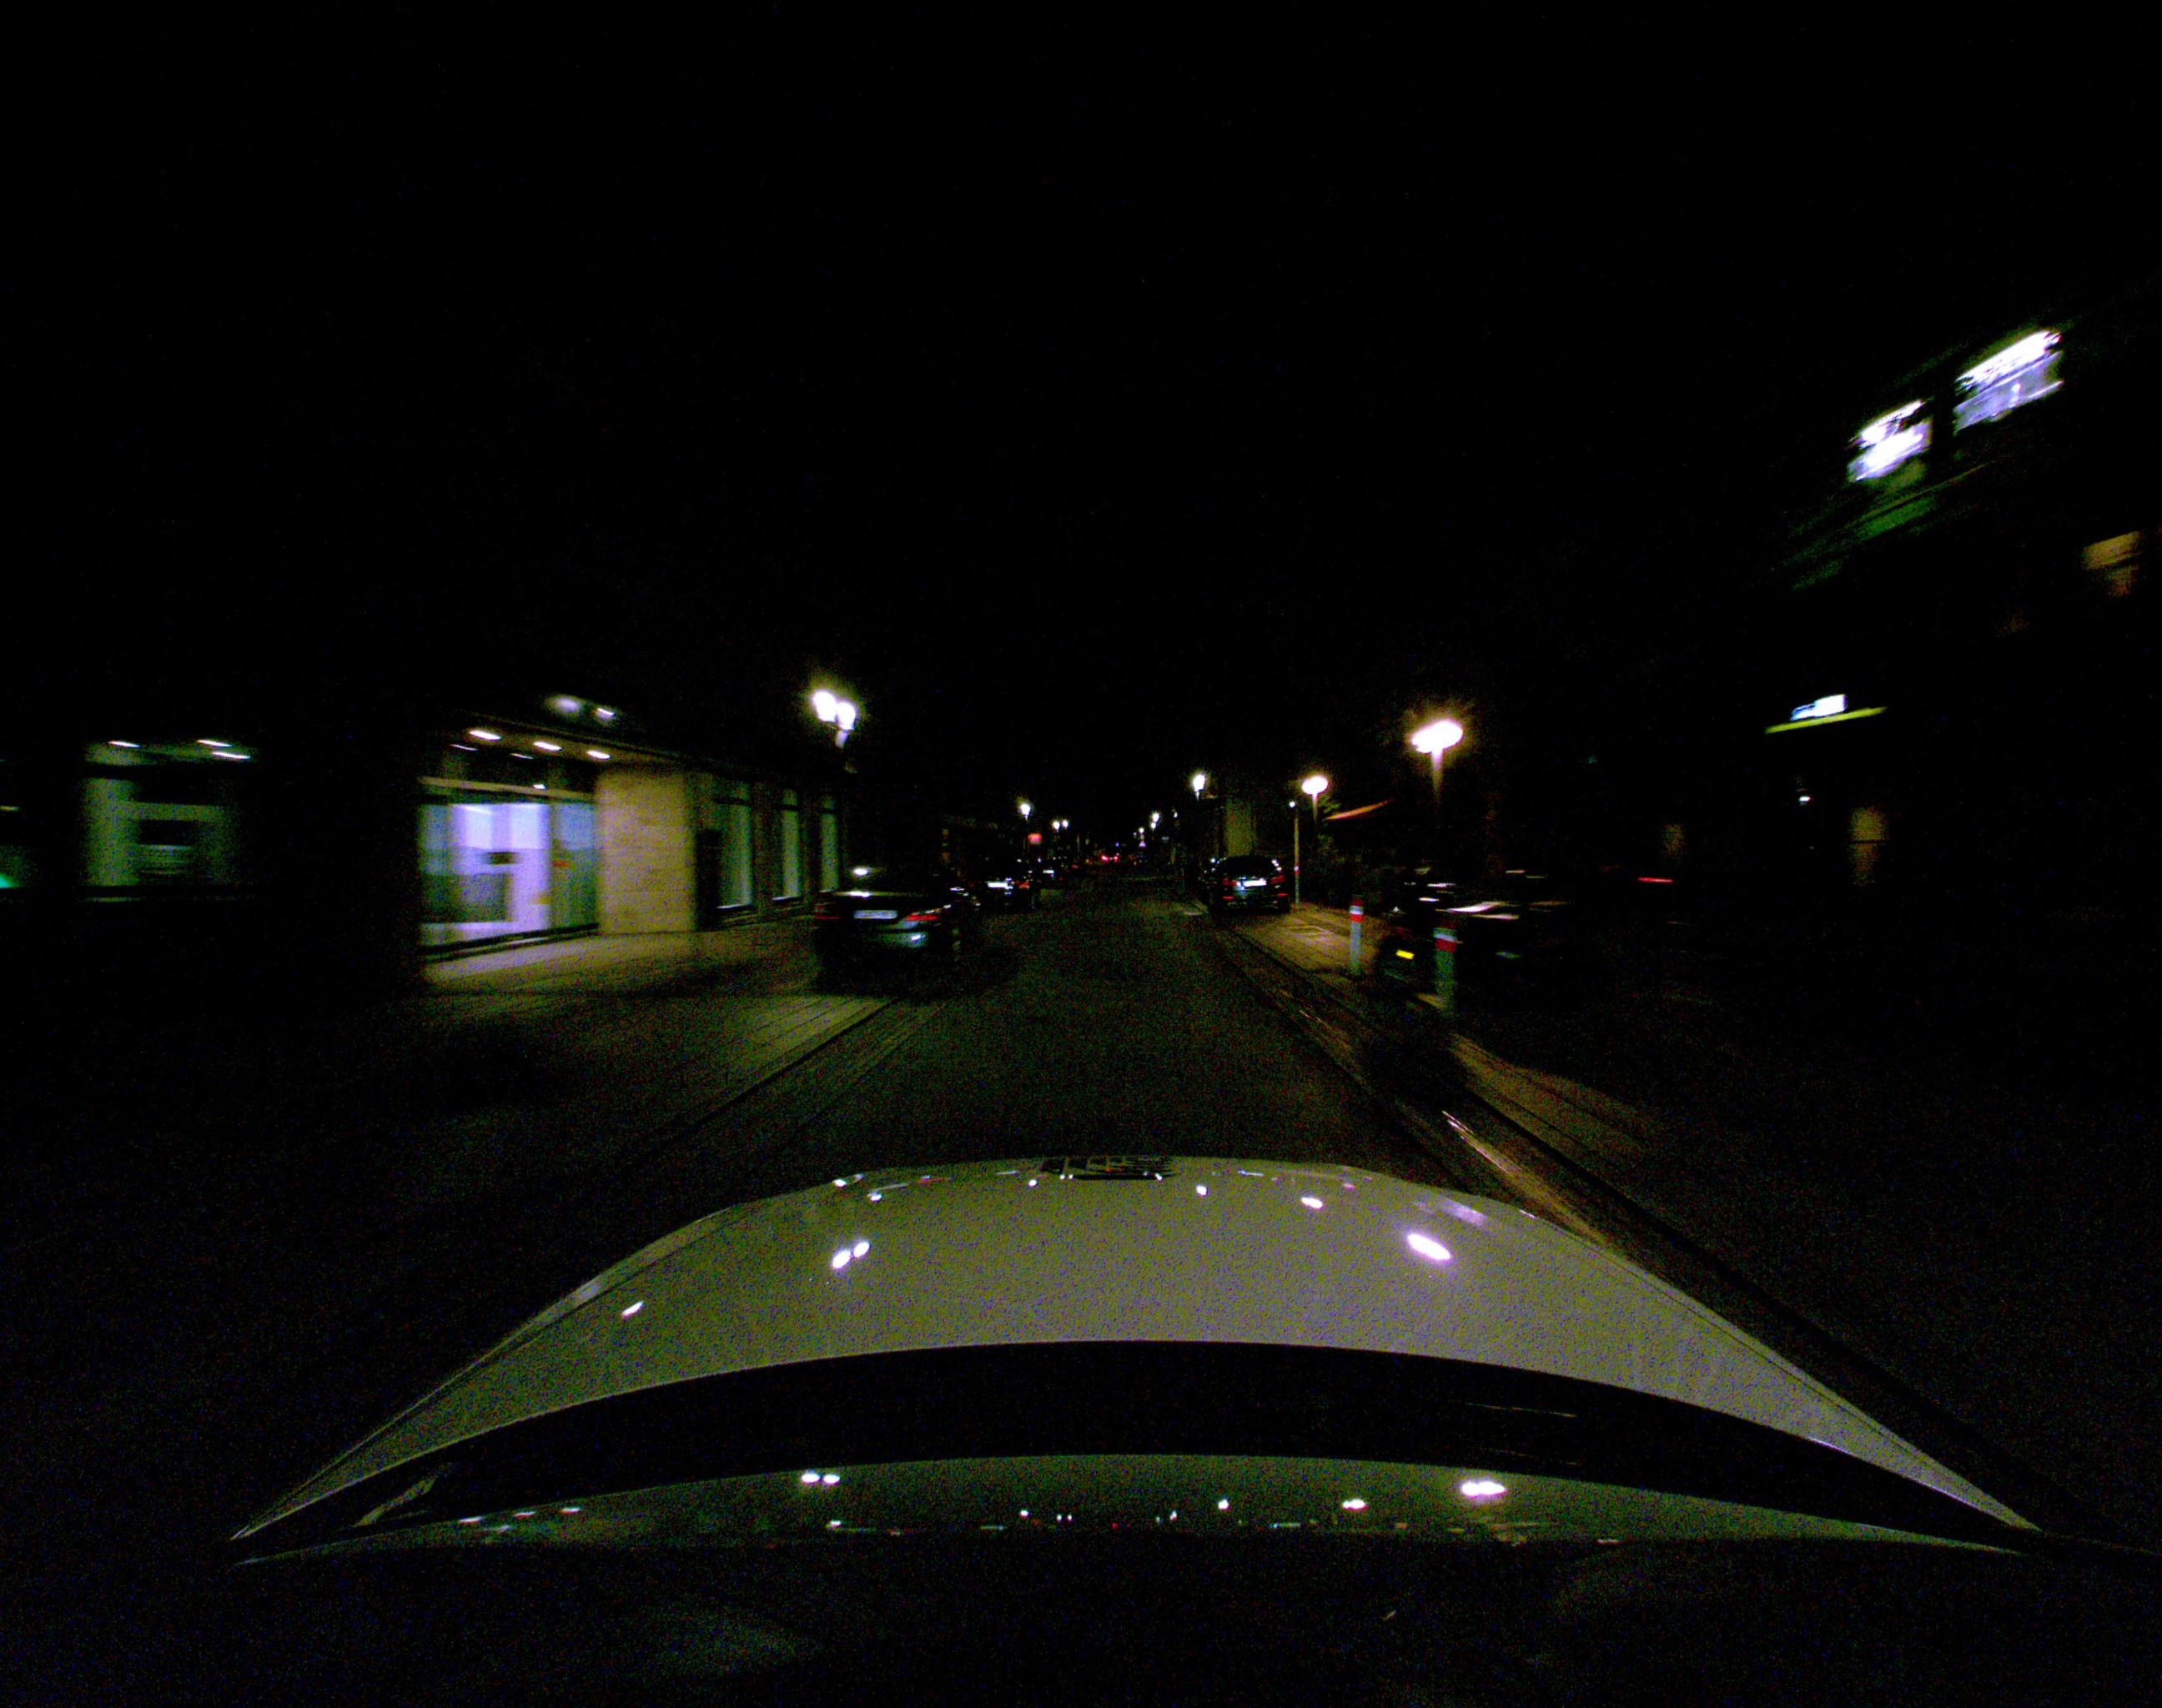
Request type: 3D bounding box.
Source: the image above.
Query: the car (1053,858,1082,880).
[{"bbox_3d":[-0.907,0.997,56.570,1.710,1.413,4.388,0,0,3],"label":"car"}]

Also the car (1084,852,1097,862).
[{"bbox_3d":[1.517,0.439,128.812,1.670,1.543,4.224,0,0,-4],"label":"car"}]

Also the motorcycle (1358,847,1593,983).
[{"bbox_3d":[4.356,0.656,9.122,2.243,1.391,0.665,-2,-1,26],"label":"motorcycle"}]

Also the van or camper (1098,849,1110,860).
[{"bbox_3d":[5.304,0.139,185.570,2.105,2.317,4.255,-3,0,-5],"label":"van or camper"}]

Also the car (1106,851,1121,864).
[{"bbox_3d":[4.654,0.456,117.836,1.987,1.823,4.001,-1,0,1],"label":"car"}]

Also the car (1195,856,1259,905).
[{"bbox_3d":[4.716,0.811,26.747,1.653,1.377,4.110,-3,0,5],"label":"car"}]

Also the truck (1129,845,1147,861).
[{"bbox_3d":[8.621,-0.124,123.673,2.328,2.312,5.782,-2,0,1],"label":"truck"}]

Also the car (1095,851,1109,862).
[{"bbox_3d":[3.471,0.380,134.237,1.989,1.702,3.996,-1,0,-3],"label":"car"}]

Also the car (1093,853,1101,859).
[{"bbox_3d":[3.873,0.527,198.847,1.528,1.418,3.841,-2,0,-3],"label":"car"}]

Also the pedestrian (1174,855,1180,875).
[{"bbox_3d":[7.470,0.820,63.315,0.498,1.547,0.481,0,0,8],"label":"pedestrian"}]

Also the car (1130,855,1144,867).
[{"bbox_3d":[7.476,0.898,108.680,1.782,1.491,4.062,-3,0,3],"label":"car"}]

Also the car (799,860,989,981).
[{"bbox_3d":[-2.627,0.856,12.587,1.894,1.470,4.524,-1,0,0],"label":"car"}]

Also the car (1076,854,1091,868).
[{"bbox_3d":[0.297,0.795,95.151,1.722,1.477,3.847,0,0,1],"label":"car"}]

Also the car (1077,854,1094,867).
[{"bbox_3d":[0.589,0.744,100.597,2.012,1.488,5.009,2,0,1],"label":"car"}]

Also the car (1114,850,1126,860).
[{"bbox_3d":[7.682,0.161,159.662,1.811,1.828,4.341,-2,0,-4],"label":"car"}]

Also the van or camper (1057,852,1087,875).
[{"bbox_3d":[-0.698,0.776,69.259,1.836,1.942,5.164,0,0,7],"label":"van or camper"}]

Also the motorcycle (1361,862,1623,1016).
[{"bbox_3d":[3.868,0.759,7.821,2.142,1.297,0.519,-2,-1,40],"label":"motorcycle"}]

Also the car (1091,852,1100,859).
[{"bbox_3d":[3.655,0.384,204.443,1.835,1.901,3.841,-2,0,-3],"label":"car"}]

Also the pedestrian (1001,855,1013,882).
[{"bbox_3d":[-4.794,0.919,52.771,0.618,1.745,1.023,-1,0,2],"label":"pedestrian"}]

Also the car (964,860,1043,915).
[{"bbox_3d":[-2.212,0.933,24.393,1.838,1.464,4.624,0,0,1],"label":"car"}]

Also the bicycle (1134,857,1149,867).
[{"bbox_3d":[7.212,0.959,97.092,1.749,1.062,0.346,-2,0,-1],"label":"bicycle"}]

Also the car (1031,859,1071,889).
[{"bbox_3d":[-1.513,0.986,42.351,1.791,1.478,4.322,0,0,1],"label":"car"}]

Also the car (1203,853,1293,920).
[{"bbox_3d":[4.248,0.769,21.340,1.745,1.464,4.473,-3,0,5],"label":"car"}]
